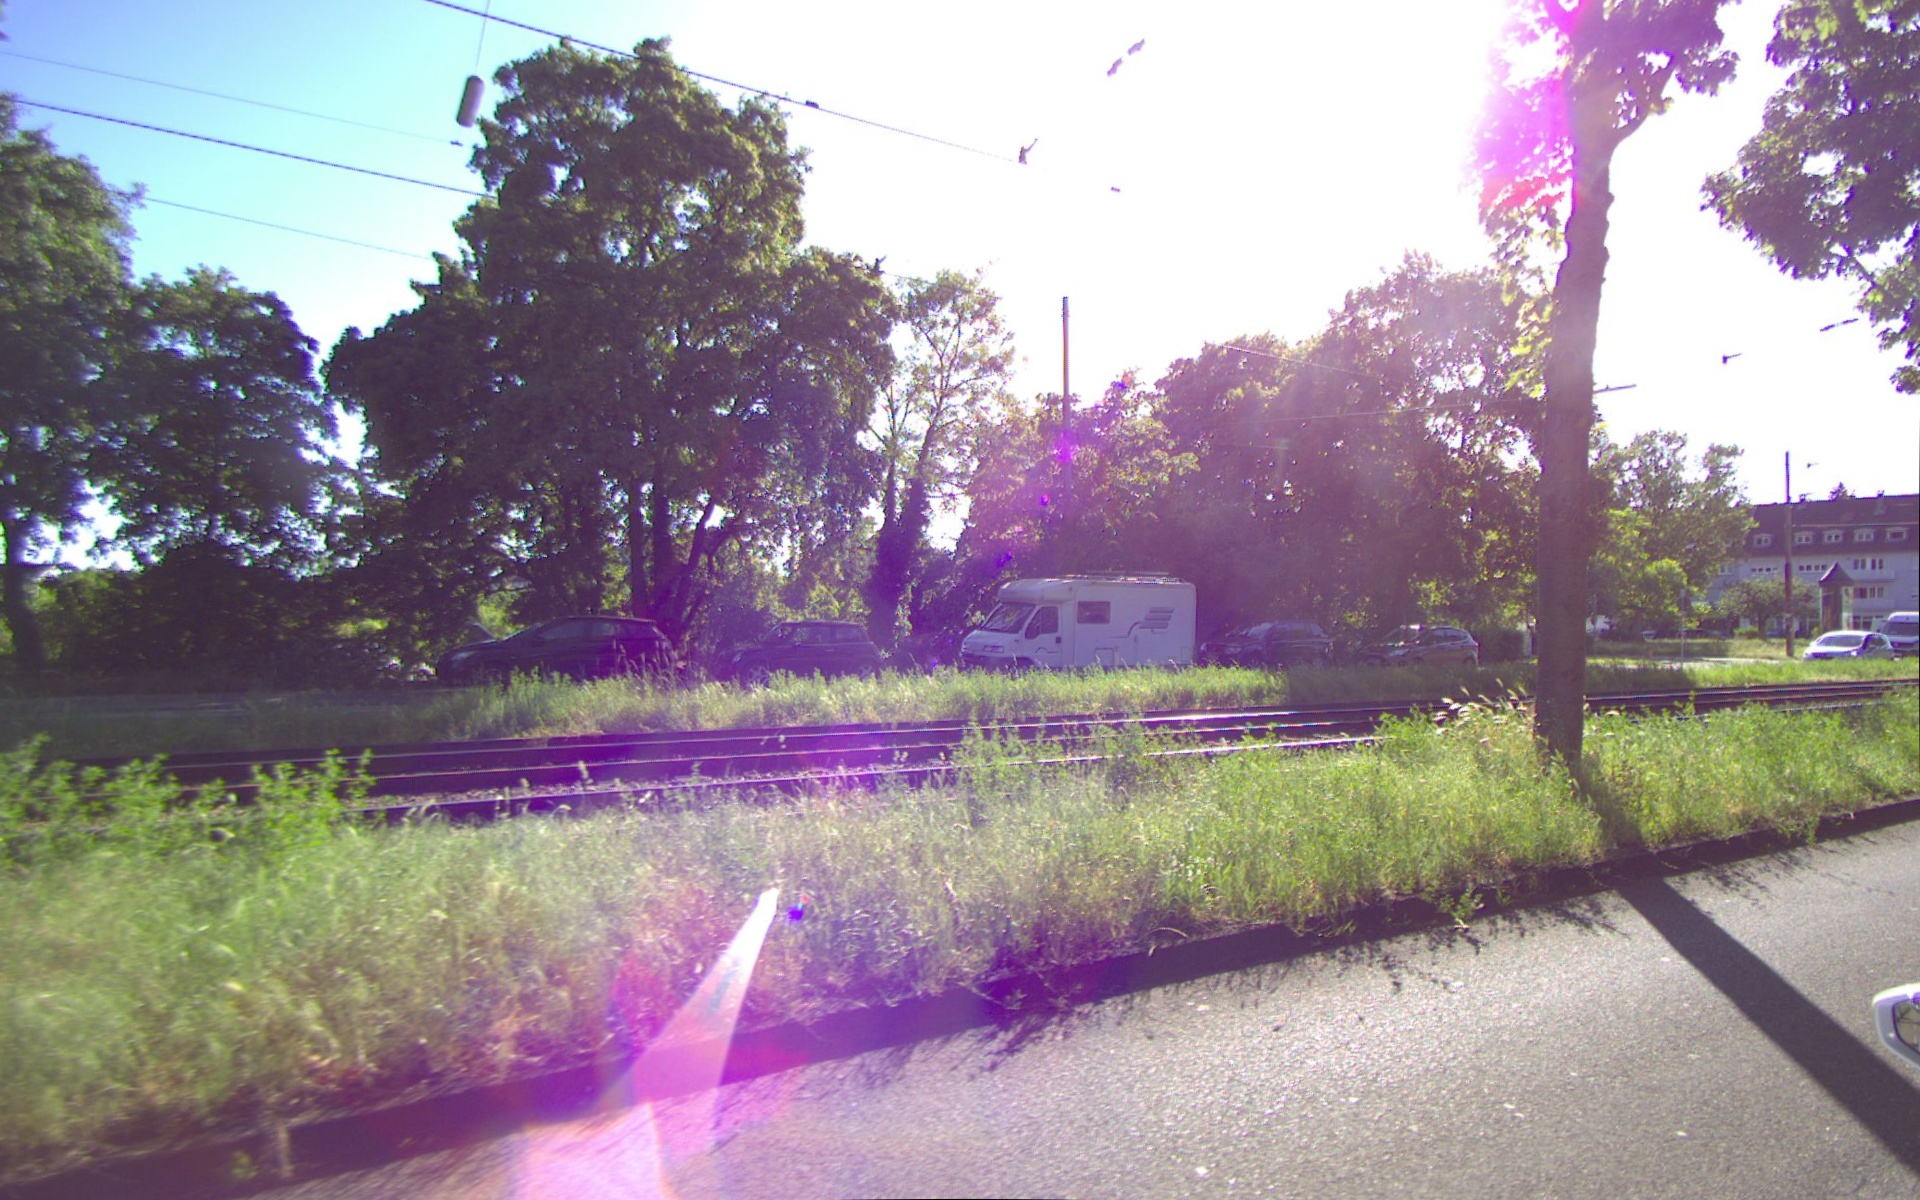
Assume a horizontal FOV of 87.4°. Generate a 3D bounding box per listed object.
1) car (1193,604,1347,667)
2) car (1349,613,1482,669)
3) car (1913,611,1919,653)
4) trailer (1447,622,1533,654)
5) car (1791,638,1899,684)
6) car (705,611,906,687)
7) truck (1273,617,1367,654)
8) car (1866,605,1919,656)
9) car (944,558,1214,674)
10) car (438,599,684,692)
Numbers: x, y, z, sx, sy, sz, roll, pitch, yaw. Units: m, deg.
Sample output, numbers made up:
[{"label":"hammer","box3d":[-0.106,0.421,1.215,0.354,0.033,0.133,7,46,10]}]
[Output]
[{"label":"car","box3d":[8.955,1.047,28.934,4.481,1.644,1.614,2,1,-31]},{"label":"car","box3d":[14.617,1.323,32.199,4.196,1.605,1.667,2,1,-29]},{"label":"car","box3d":[57.766,1.972,58.058,6.389,2.408,2.172,2,1,-30]},{"label":"trailer","box3d":[27.880,1.971,52.885,3.704,1.524,1.745,1,-1,41]},{"label":"car","box3d":[33.633,2.308,38.150,4.389,1.548,1.719,2,1,-30]},{"label":"car","box3d":[-3.343,1.068,21.882,3.952,1.454,1.703,2,1,-29]},{"label":"truck","box3d":[21.662,2.087,60.583,4.869,1.894,2.074,3,1,41]},{"label":"car","box3d":[51.458,1.685,54.283,6.067,2.530,1.991,2,1,-31]},{"label":"car","box3d":[3.086,0.396,25.206,6.719,2.615,2.214,1,1,-30]},{"label":"car","box3d":[-7.680,0.875,19.417,4.229,1.584,1.760,2,0,-28]}]
